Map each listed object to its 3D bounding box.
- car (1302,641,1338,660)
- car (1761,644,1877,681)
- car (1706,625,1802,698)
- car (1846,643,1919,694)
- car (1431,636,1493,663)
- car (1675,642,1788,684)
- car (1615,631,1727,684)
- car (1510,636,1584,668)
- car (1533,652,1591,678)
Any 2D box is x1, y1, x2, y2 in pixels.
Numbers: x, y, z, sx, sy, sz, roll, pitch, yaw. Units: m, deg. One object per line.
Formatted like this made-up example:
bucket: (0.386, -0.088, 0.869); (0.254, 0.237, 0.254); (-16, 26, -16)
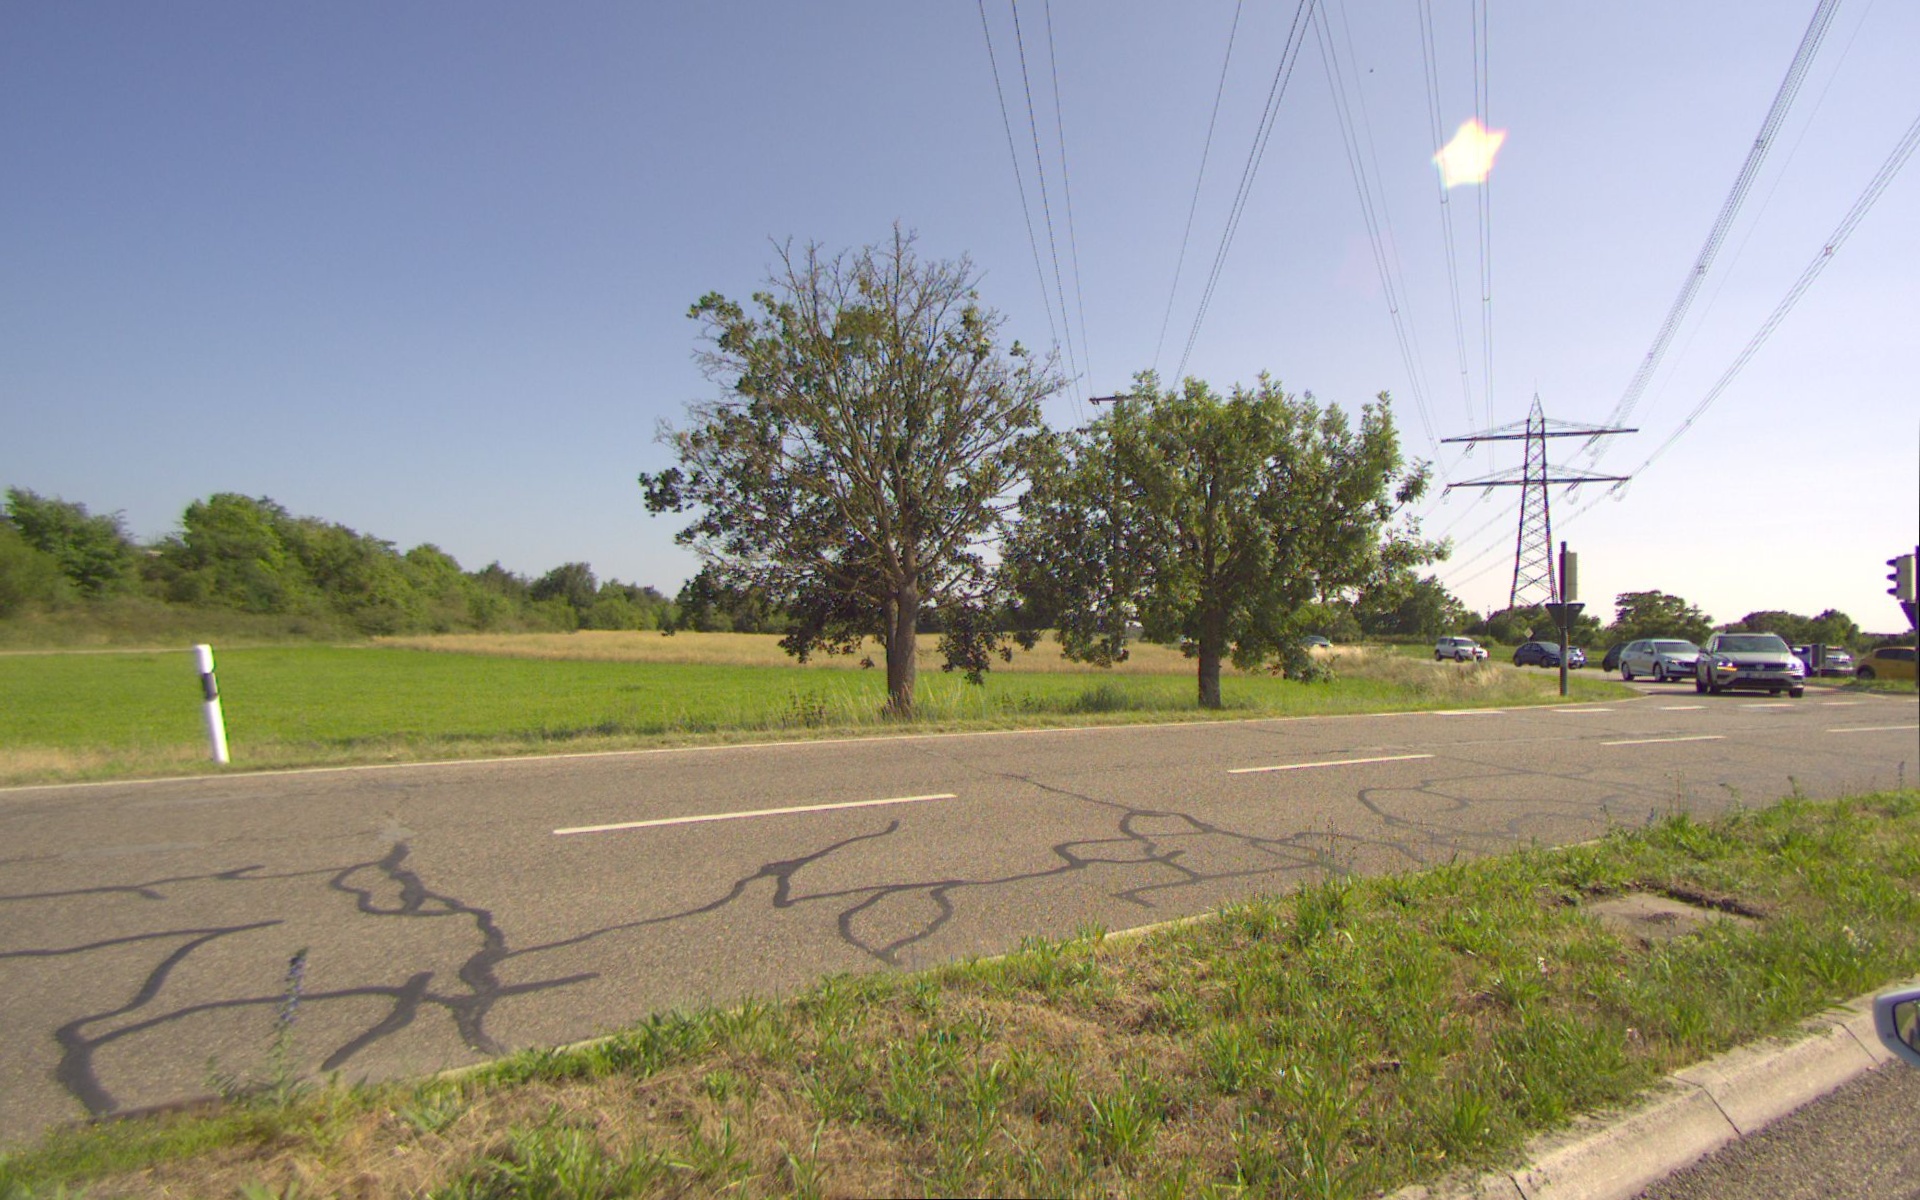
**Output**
car: (32.751, 4.557, 91.514); (1.784, 1.505, 4.000); (2, 0, 1)
car: (38.864, 2.805, 45.579); (1.774, 1.539, 3.877); (1, -2, -6)
car: (20.165, 1.519, 25.557); (1.792, 1.673, 3.984); (0, -2, 38)
car: (33.605, 2.391, 35.041); (1.785, 1.673, 4.000); (1, -1, -2)
car: (32.636, 3.215, 65.436); (1.785, 1.505, 3.998); (2, 0, -3)
car: (33.623, 2.704, 43.926); (1.785, 1.673, 4.000); (1, -1, -2)
car: (24.595, 1.948, 34.916); (1.783, 1.673, 4.003); (1, -2, 13)
car: (33.079, 2.921, 56.726); (1.785, 1.673, 4.000); (1, -1, -2)
car: (38.677, 4.188, 64.618); (1.641, 1.401, 3.151); (2, 0, -4)
